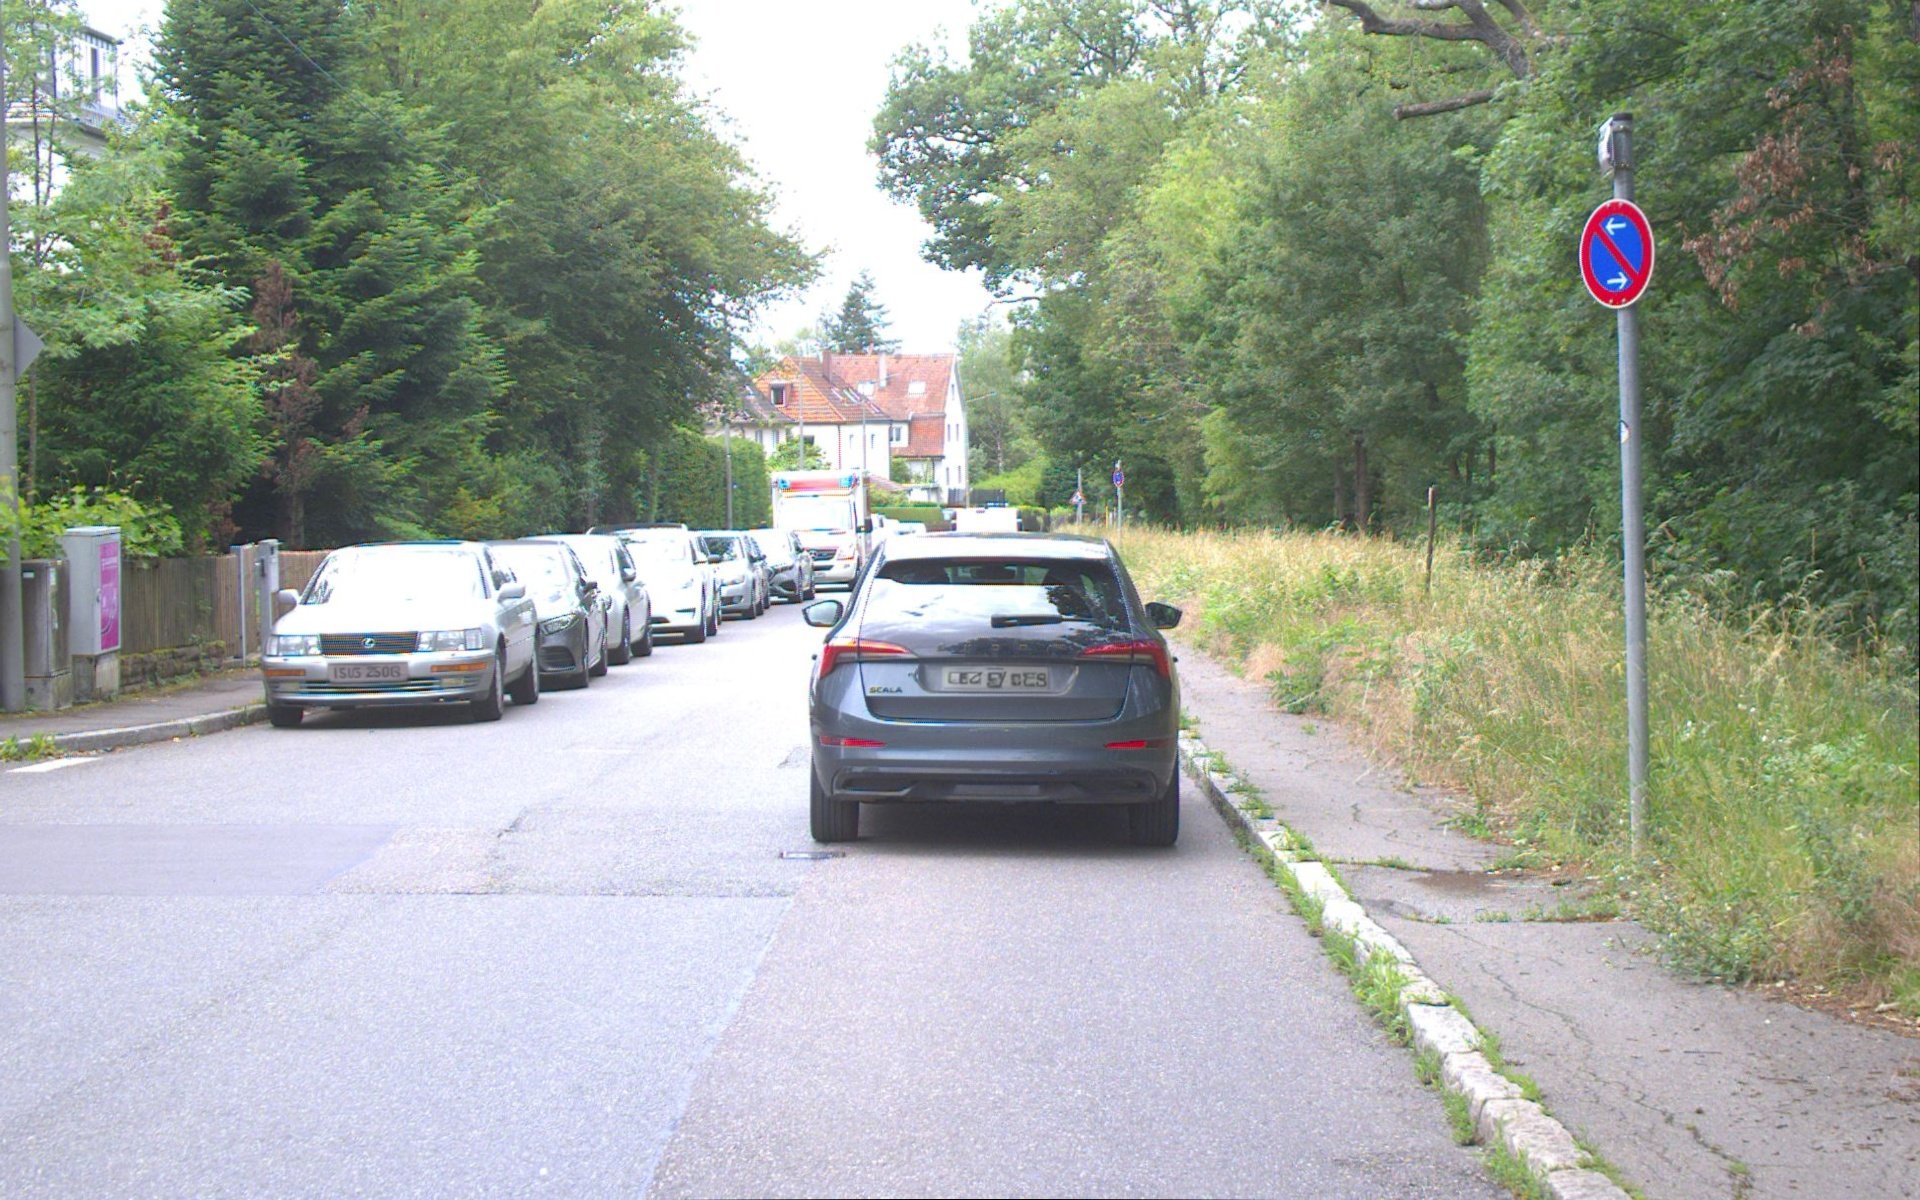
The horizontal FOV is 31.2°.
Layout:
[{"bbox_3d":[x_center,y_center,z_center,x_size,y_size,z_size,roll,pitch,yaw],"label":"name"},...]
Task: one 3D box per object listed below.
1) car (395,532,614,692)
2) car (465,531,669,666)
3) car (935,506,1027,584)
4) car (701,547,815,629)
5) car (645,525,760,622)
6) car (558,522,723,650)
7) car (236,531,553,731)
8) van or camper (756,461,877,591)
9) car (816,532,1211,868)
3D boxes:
[{"bbox_3d":[-4.433,0.067,33.970,1.734,1.434,4.263,-2,1,-2],"label":"car"},{"bbox_3d":[-4.520,-0.057,40.069,1.834,1.434,4.117,-2,1,0],"label":"car"},{"bbox_3d":[0.504,-1.437,88.238,2.071,1.915,4.923,0,1,-3],"label":"car"},{"bbox_3d":[-4.076,-0.275,70.076,1.798,1.499,4.863,-3,1,2],"label":"car"},{"bbox_3d":[-4.259,-0.463,57.316,1.720,1.499,4.008,-3,1,-3],"label":"car"},{"bbox_3d":[-4.299,-0.232,46.834,1.916,1.556,4.604,-3,1,-2],"label":"car"},{"bbox_3d":[-4.504,0.179,28.065,1.848,1.434,4.911,-1,1,-1],"label":"car"},{"bbox_3d":[-3.451,-1.746,81.391,2.456,2.885,7.169,-1,1,-5],"label":"van or camper"},{"bbox_3d":[0.147,0.400,17.250,1.727,1.434,4.324,0,2,-2],"label":"car"}]
